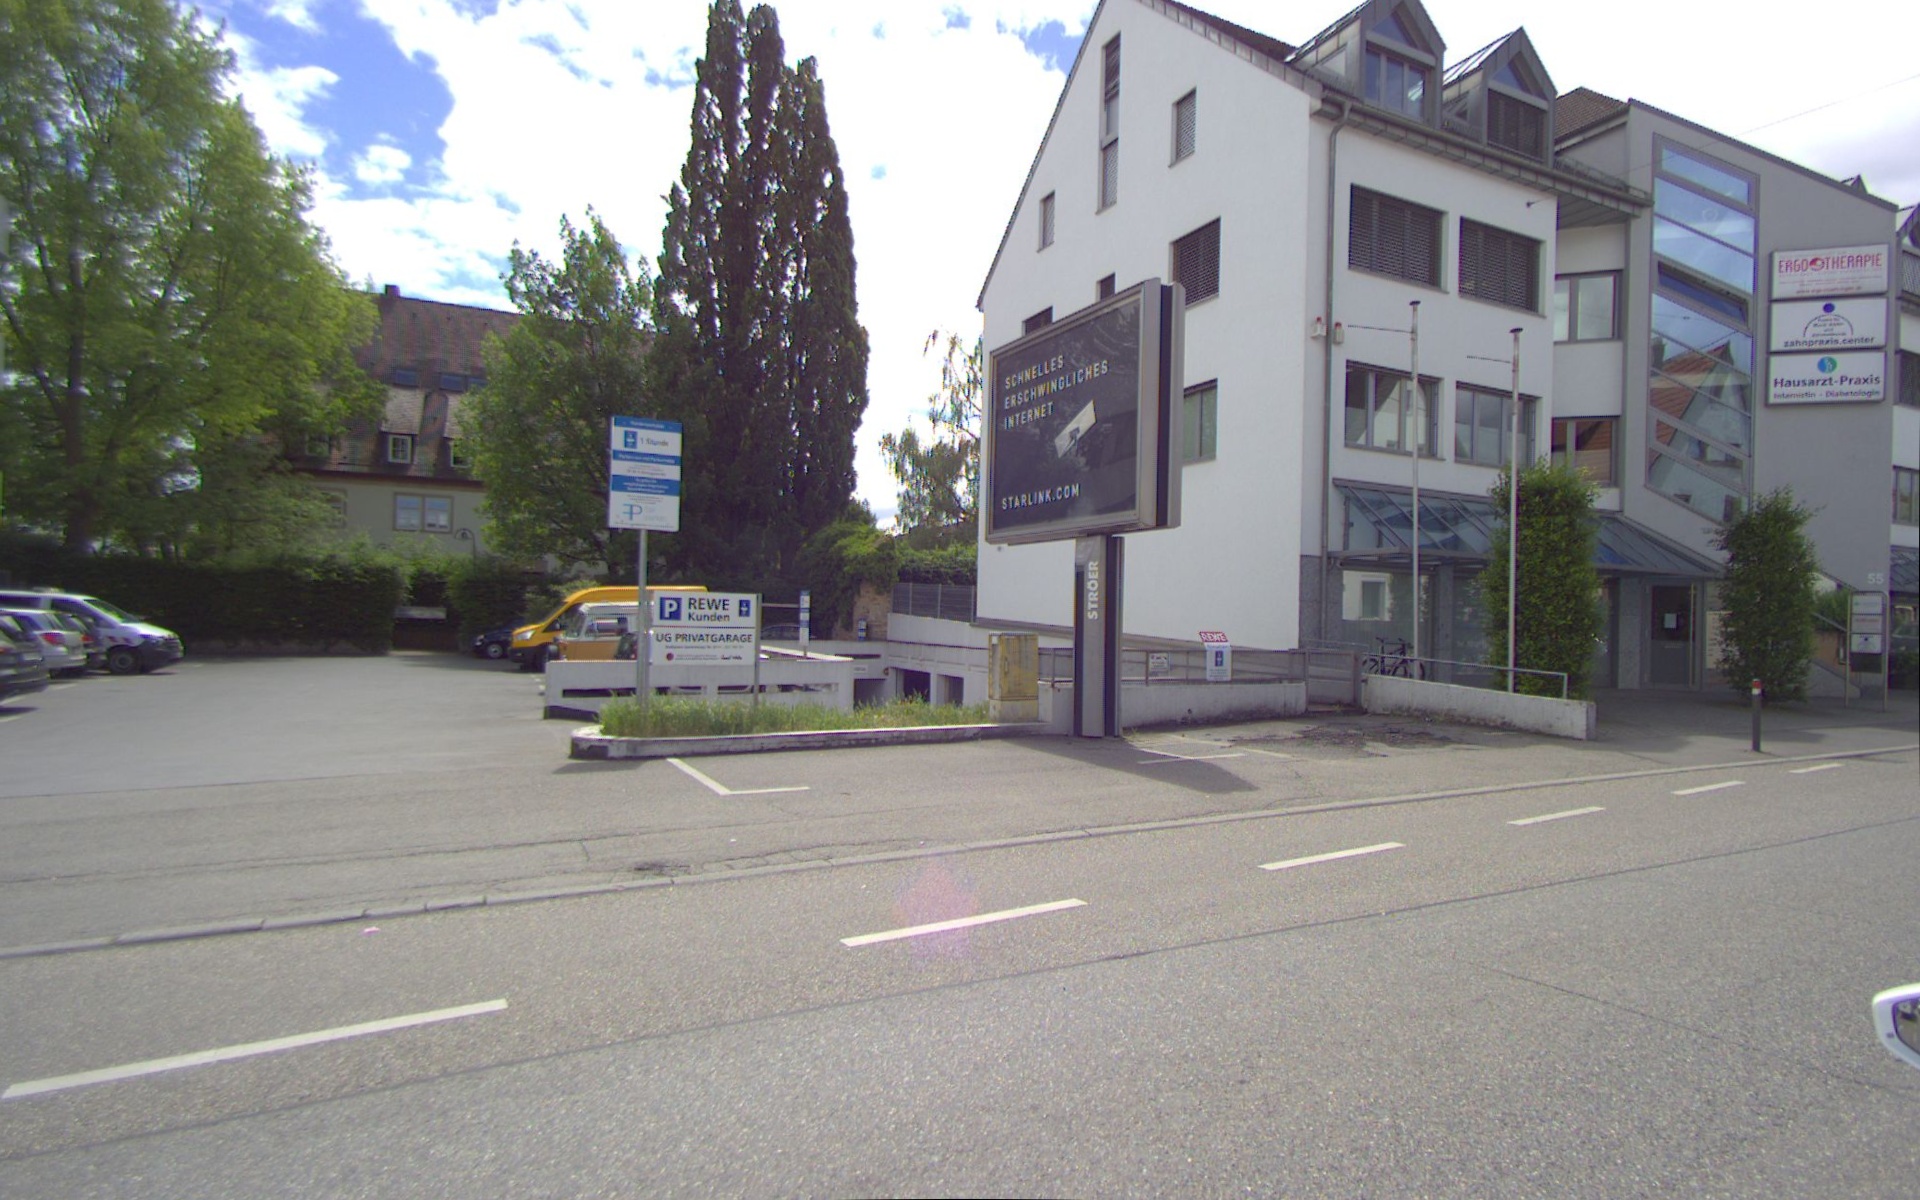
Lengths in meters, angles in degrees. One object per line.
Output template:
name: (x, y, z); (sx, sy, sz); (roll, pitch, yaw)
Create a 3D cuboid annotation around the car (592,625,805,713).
car: (-5.148, 1.306, 19.899); (3.717, 1.549, 1.801); (2, -1, -33)

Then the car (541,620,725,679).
car: (-8.647, 1.317, 26.599); (4.448, 1.457, 1.806); (1, -3, -26)

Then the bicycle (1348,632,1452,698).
bicycle: (7.791, 1.129, 17.743); (1.979, 1.109, 0.627); (1, -1, -30)

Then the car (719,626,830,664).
car: (-6.678, 1.610, 36.167); (3.613, 1.302, 1.706); (1, -1, -26)

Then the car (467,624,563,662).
car: (-15.569, 1.506, 35.238); (2.995, 1.200, 1.412); (1, 2, -24)

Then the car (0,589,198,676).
car: (-21.452, 0.768, 23.820); (5.019, 1.967, 1.962); (1, -1, -25)

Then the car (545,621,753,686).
car: (-7.566, 1.282, 24.483); (4.620, 1.457, 1.806); (1, -1, -26)

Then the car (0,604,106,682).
car: (-19.445, 0.809, 19.521); (3.946, 1.480, 1.840); (1, -1, -26)

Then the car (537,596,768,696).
car: (-6.732, 0.988, 22.081); (4.589, 2.016, 1.831); (1, -1, -28)

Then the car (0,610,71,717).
car: (-16.404, 0.933, 14.904); (4.439, 1.599, 1.914); (1, -1, -28)

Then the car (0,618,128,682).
car: (-20.491, 1.049, 21.358); (3.946, 1.312, 1.840); (1, -1, -26)

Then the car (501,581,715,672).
car: (-10.623, 0.853, 30.492); (5.902, 2.563, 2.054); (1, -3, -28)
